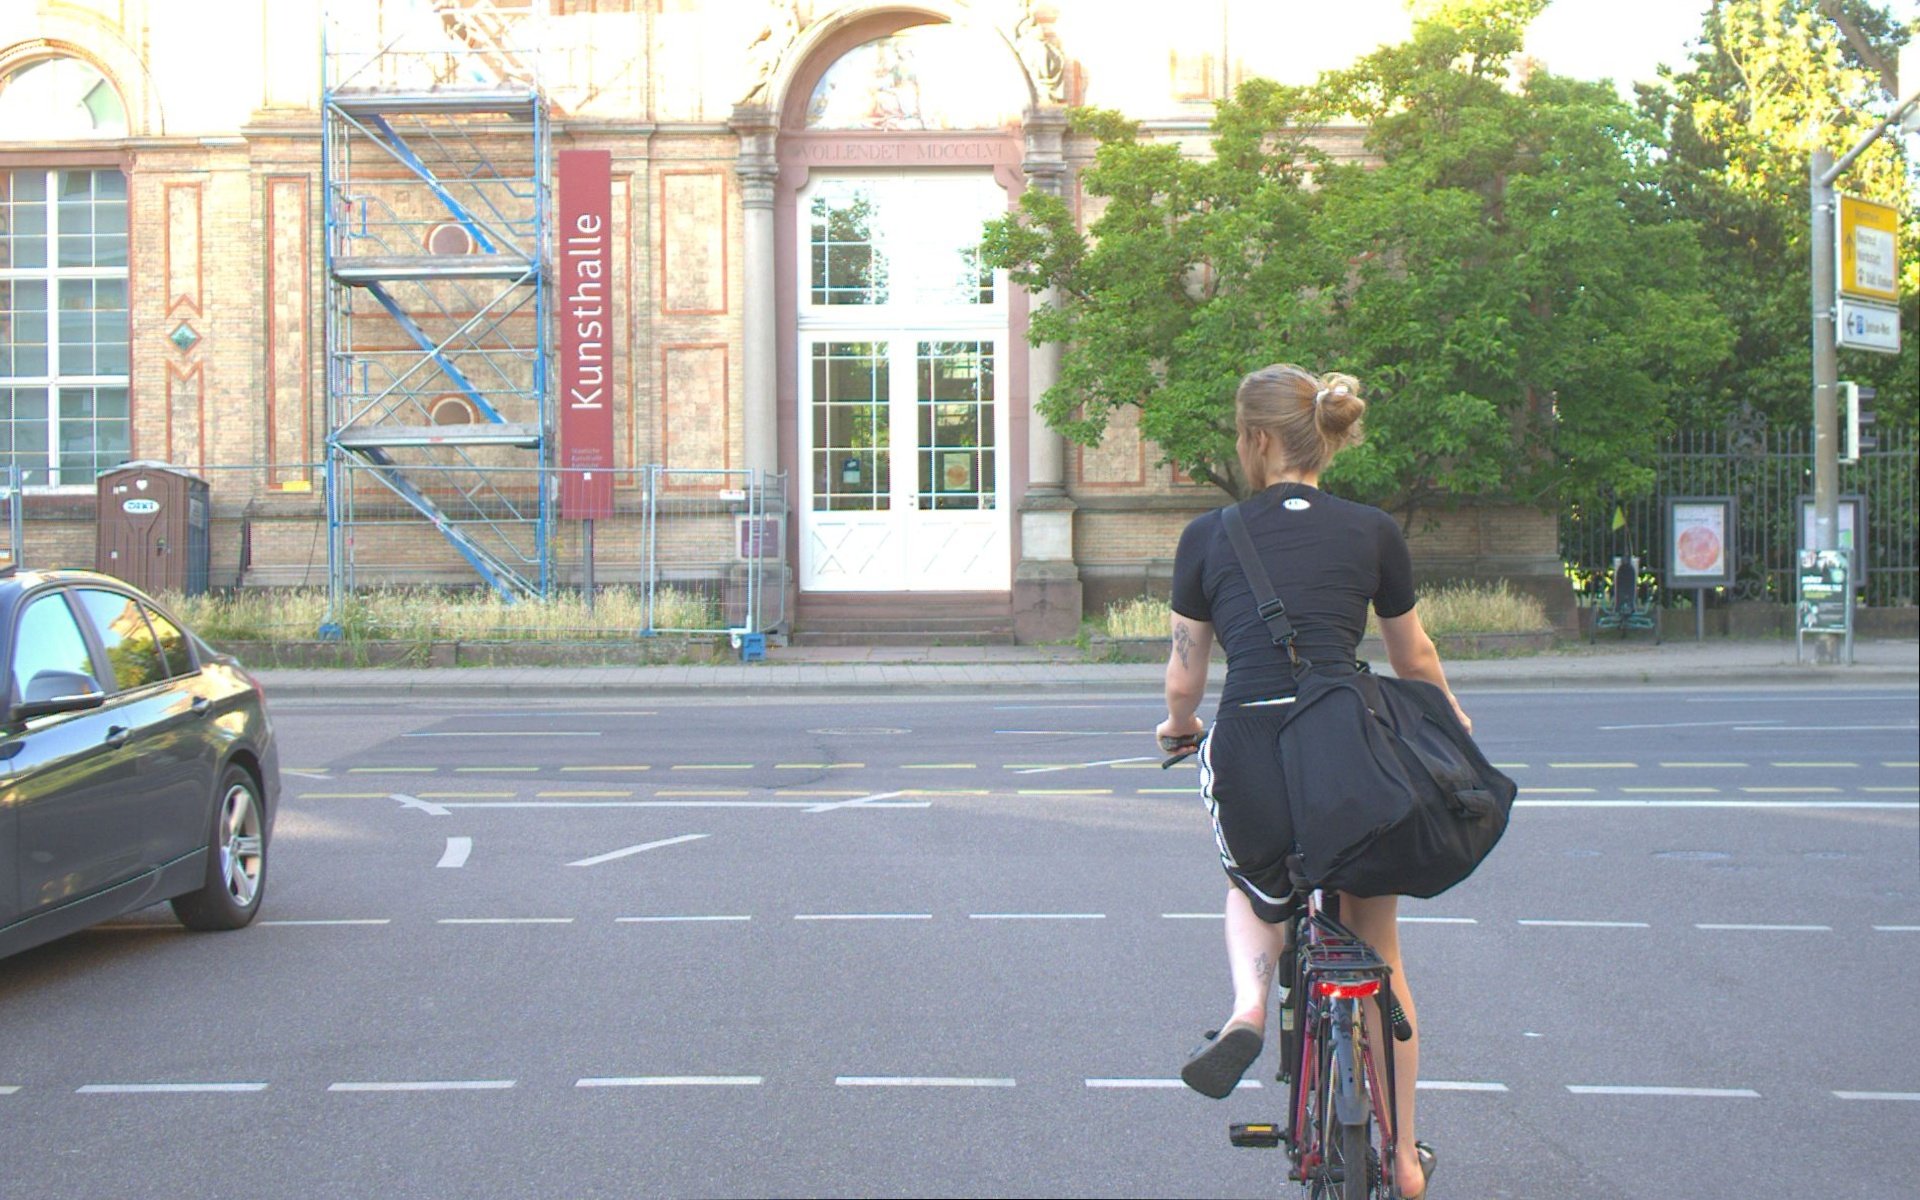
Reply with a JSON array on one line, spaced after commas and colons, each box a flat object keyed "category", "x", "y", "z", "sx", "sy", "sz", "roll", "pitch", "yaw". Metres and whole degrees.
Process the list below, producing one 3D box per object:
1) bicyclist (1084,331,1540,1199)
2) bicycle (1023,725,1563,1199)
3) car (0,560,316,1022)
[{"category": "bicyclist", "x": 0.673, "y": 0.295, "z": 6.361, "sx": 0.716, "sy": 1.497, "sz": 0.850, "roll": -1, "pitch": -1, "yaw": 14}, {"category": "bicycle", "x": 0.699, "y": 0.841, "z": 6.475, "sx": 0.712, "sy": 1.152, "sz": 2.067, "roll": -1, "pitch": -1, "yaw": 14}, {"category": "car", "x": -3.826, "y": 0.616, "z": 12.000, "sx": 1.782, "sy": 1.454, "sz": 4.422, "roll": -1, "pitch": 1, "yaw": 8}]
